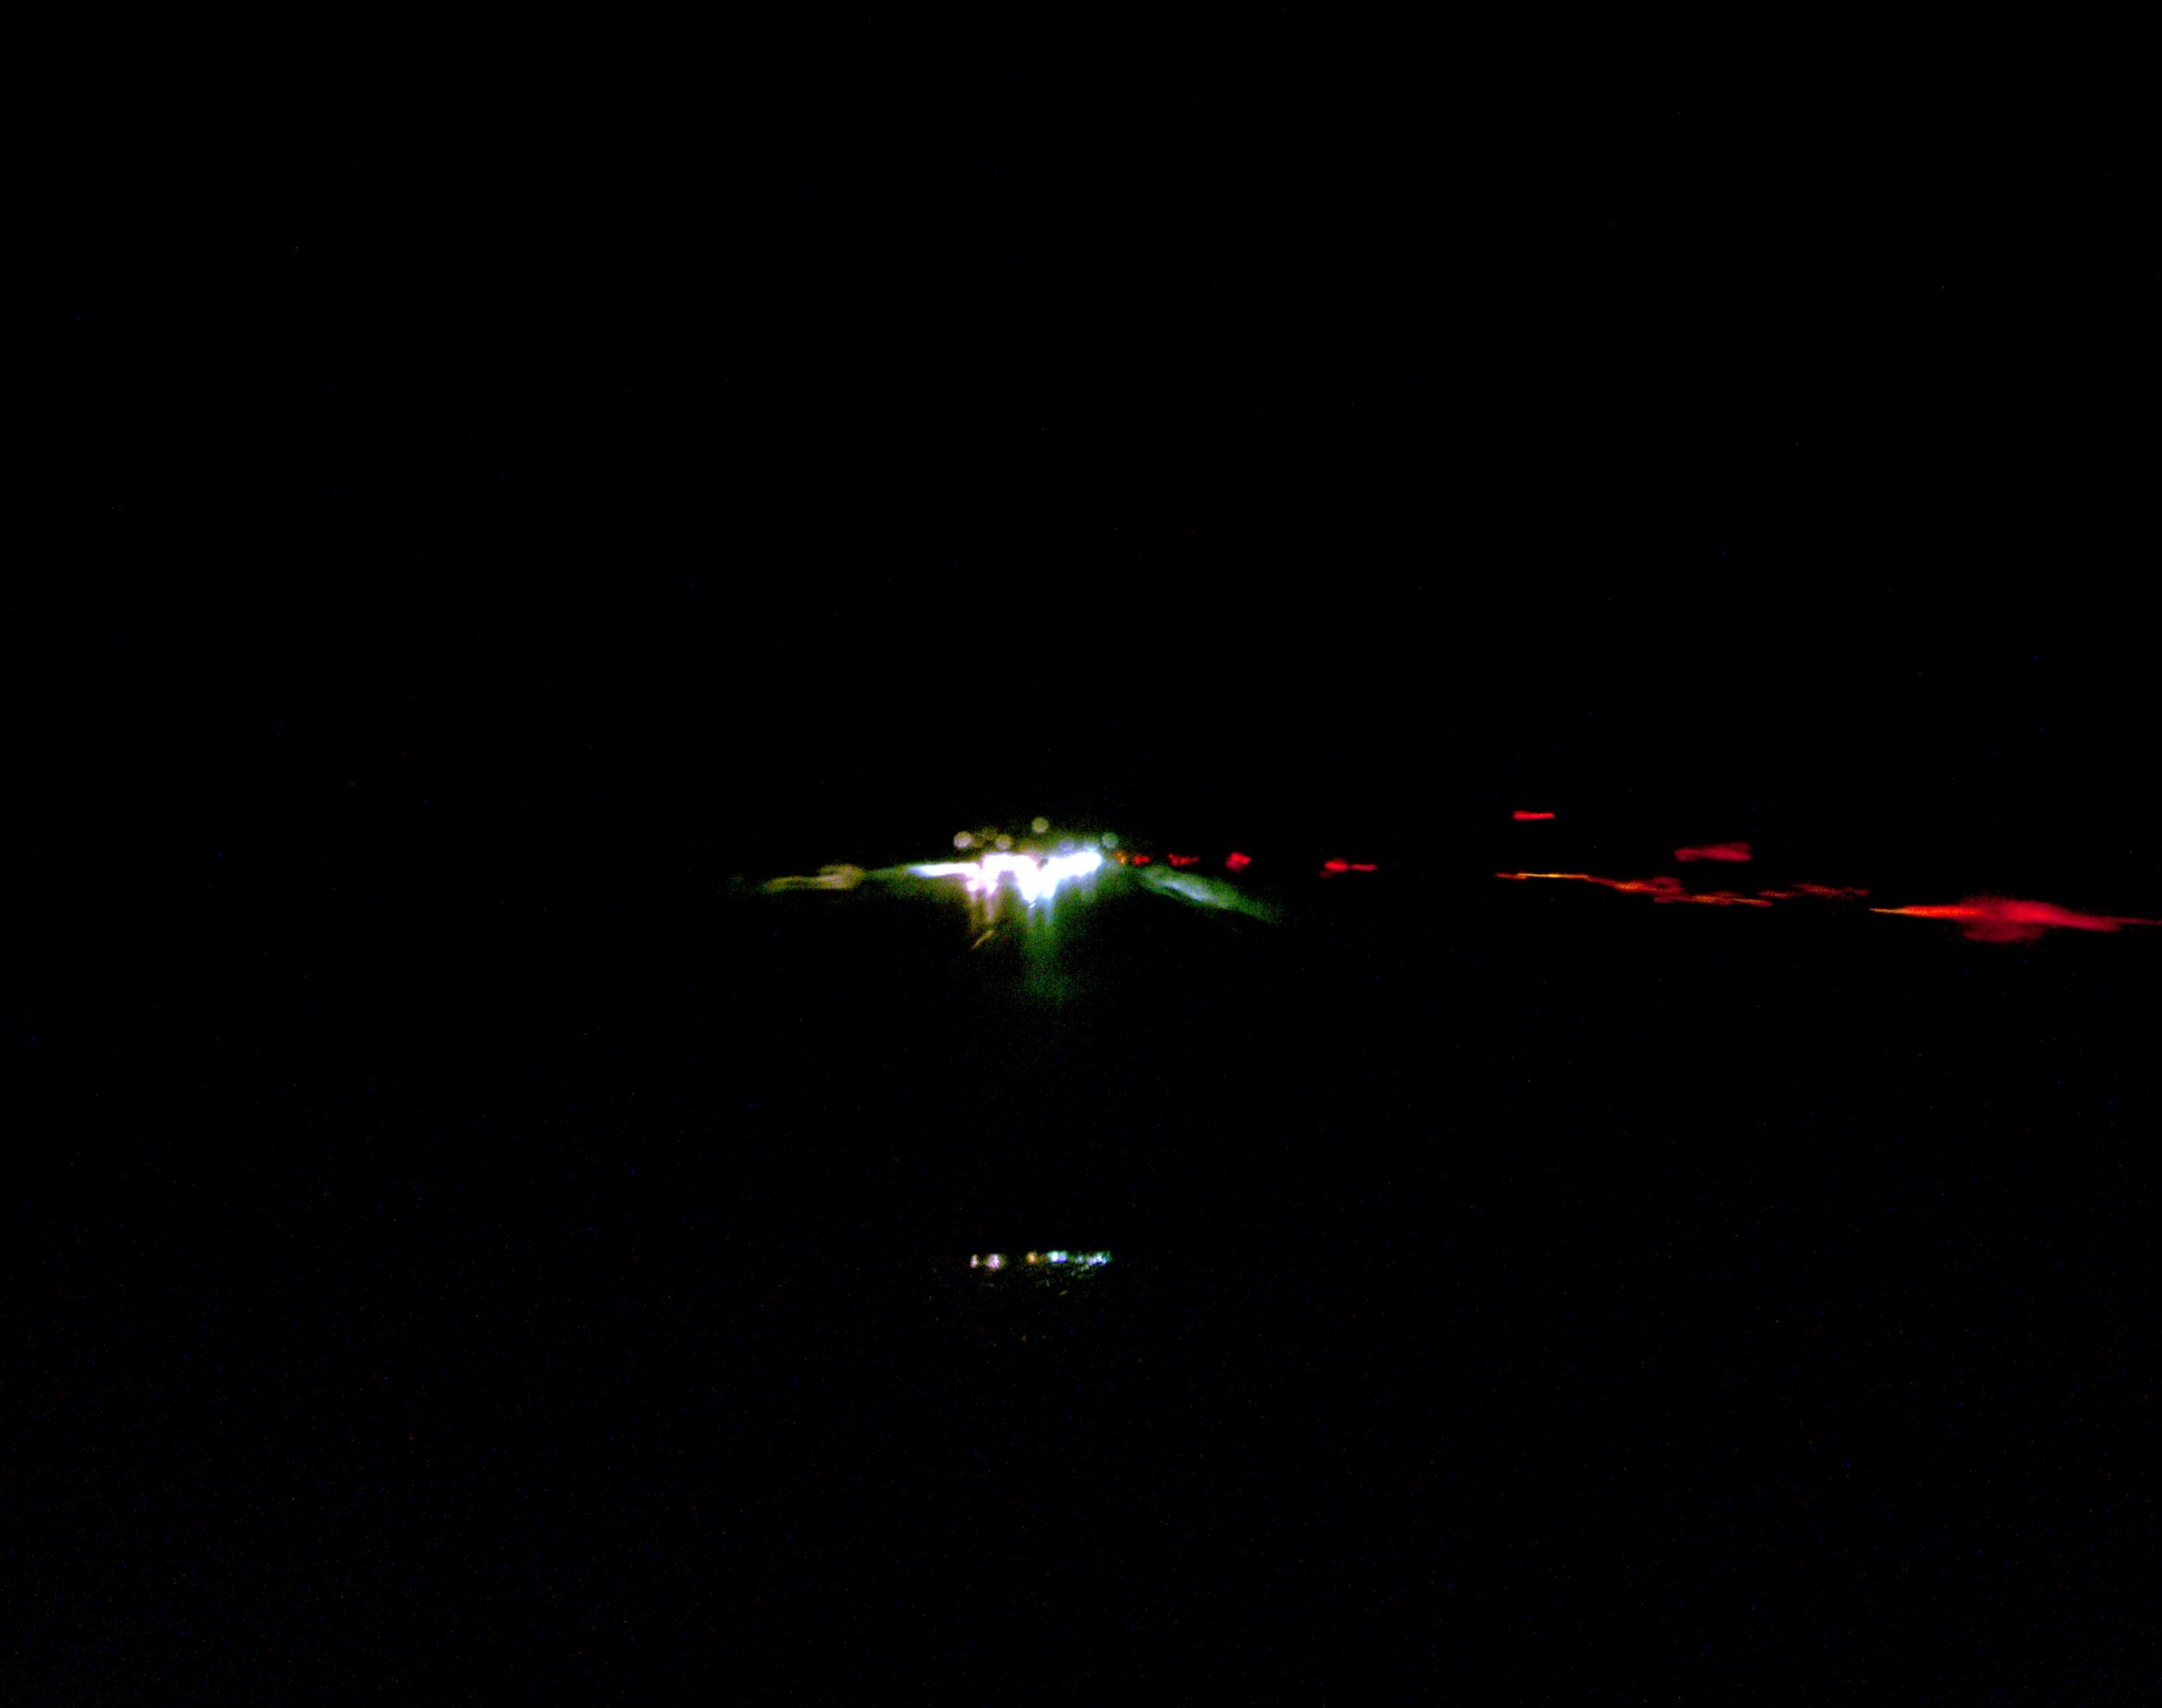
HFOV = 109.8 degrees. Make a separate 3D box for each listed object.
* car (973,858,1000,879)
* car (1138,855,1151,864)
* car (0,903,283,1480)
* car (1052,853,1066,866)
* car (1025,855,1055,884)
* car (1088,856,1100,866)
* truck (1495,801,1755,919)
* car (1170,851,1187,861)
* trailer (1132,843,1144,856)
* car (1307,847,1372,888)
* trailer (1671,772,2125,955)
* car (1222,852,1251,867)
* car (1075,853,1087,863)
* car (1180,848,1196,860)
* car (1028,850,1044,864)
[{"bbox_3d":[-7.021,1.041,56.604,1.644,1.494,4.012,-1,0,-2],"label":"car"},{"bbox_3d":[10.754,0.910,128.673,1.998,1.432,4.437,0,0,1],"label":"car"},{"bbox_3d":[-3.934,1.011,0.623,1.745,1.566,4.493,-1,1,0],"label":"car"},{"bbox_3d":[-3.143,0.820,109.105,1.883,1.654,4.000,-3,-1,-1],"label":"car"},{"bbox_3d":[-2.930,1.094,54.872,1.999,2.002,3.999,-2,0,-3],"label":"car"},{"bbox_3d":[2.256,1.291,135.763,1.883,1.654,4.000,-3,-1,-1],"label":"car"},{"bbox_3d":[20.703,0.194,30.121,2.875,3.885,10.211,-1,0,-1],"label":"truck"},{"bbox_3d":[14.526,0.280,113.072,1.998,1.432,4.437,0,0,1],"label":"car"},{"bbox_3d":[20.089,-1.667,269.407,2.980,4.243,14.862,-5,0,1],"label":"trailer"},{"bbox_3d":[13.296,0.675,39.284,1.998,2.002,4.000,0,0,0],"label":"car"},{"bbox_3d":[20.813,0.201,20.573,2.864,3.877,8.704,-1,0,-1],"label":"trailer"},{"bbox_3d":[17.081,0.577,83.545,1.999,1.550,4.532,-1,0,-3],"label":"car"},{"bbox_3d":[-0.041,0.670,125.488,1.883,1.654,4.000,-3,-1,-1],"label":"car"},{"bbox_3d":[18.312,-0.075,129.952,1.998,2.002,5.360,0,0,0],"label":"car"},{"bbox_3d":[-6.247,0.392,106.194,1.832,1.835,4.699,-3,-1,1],"label":"car"}]
